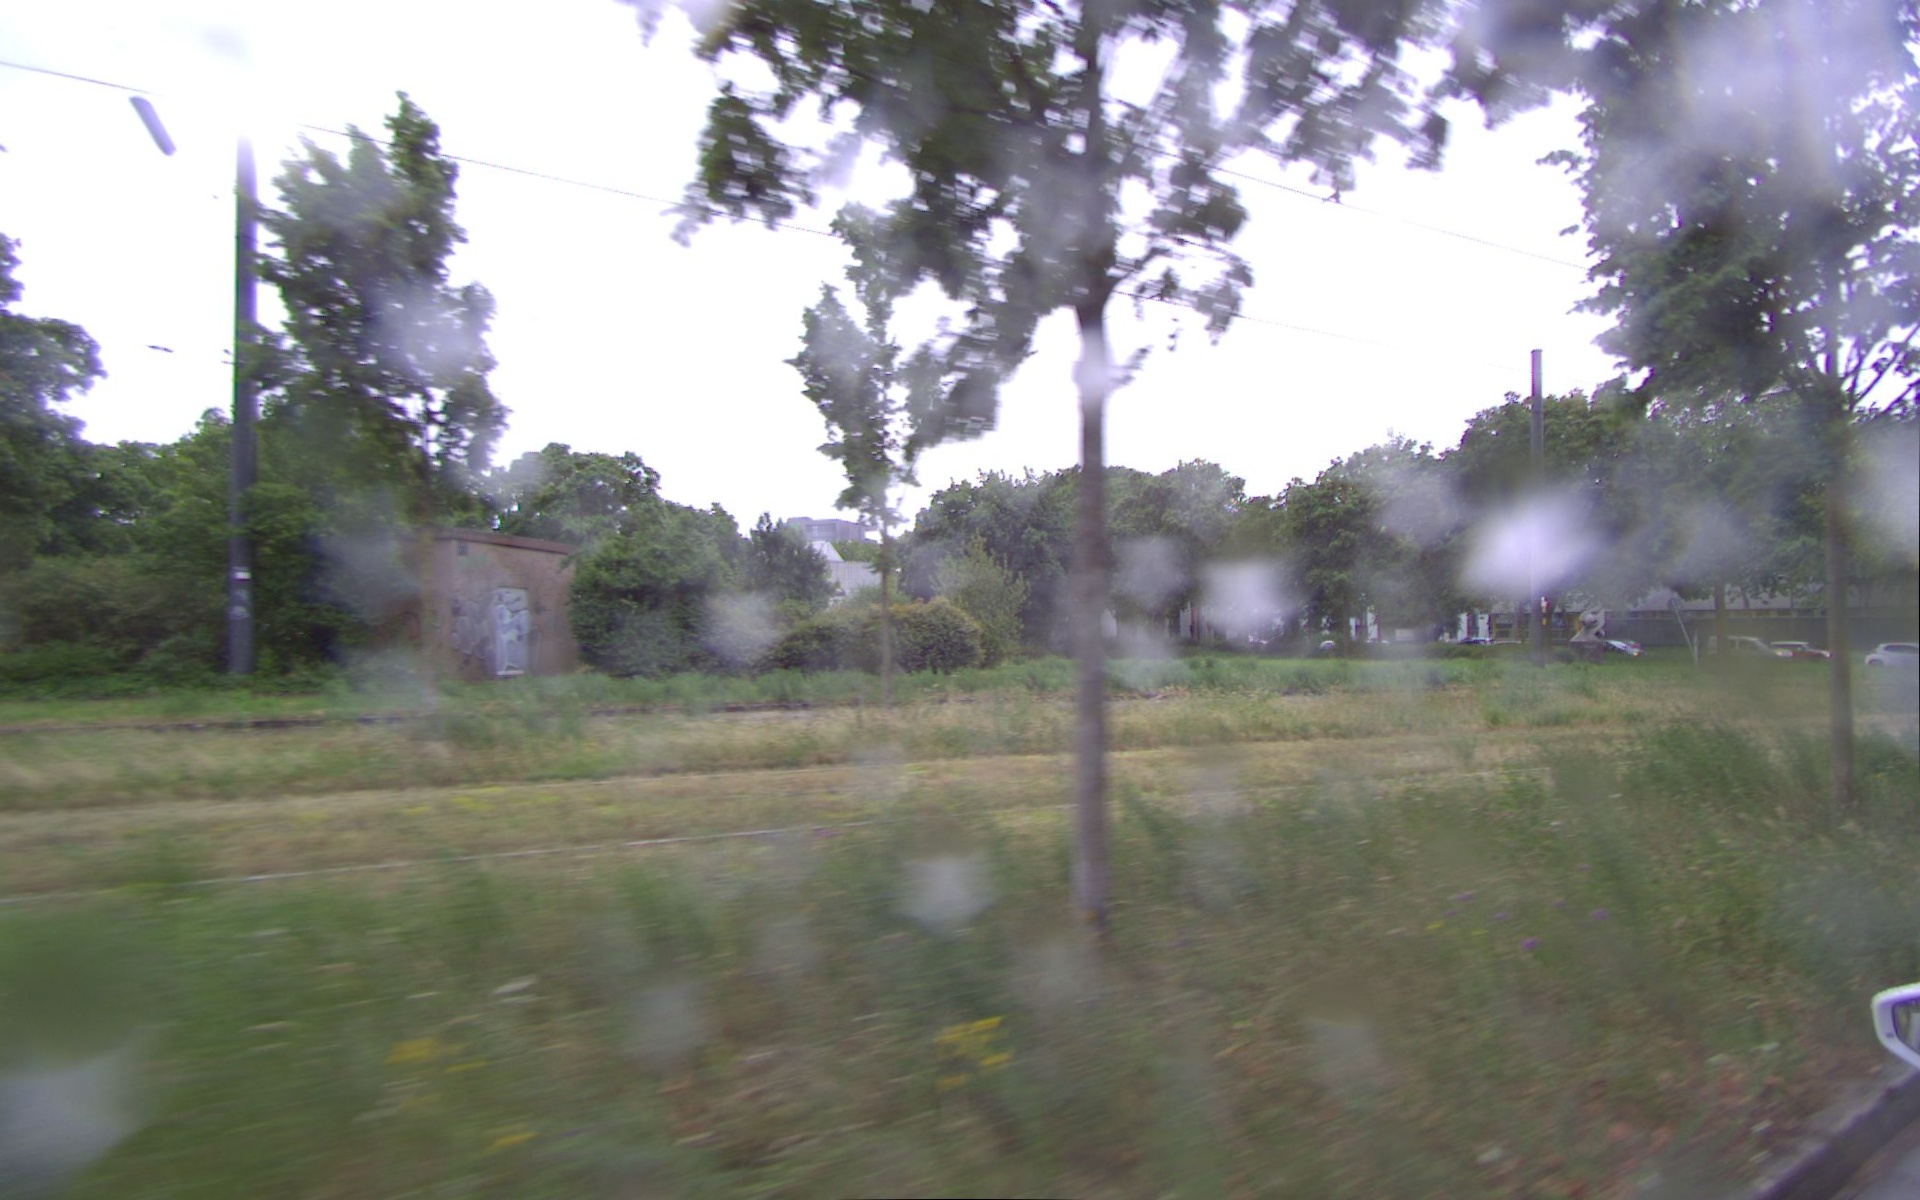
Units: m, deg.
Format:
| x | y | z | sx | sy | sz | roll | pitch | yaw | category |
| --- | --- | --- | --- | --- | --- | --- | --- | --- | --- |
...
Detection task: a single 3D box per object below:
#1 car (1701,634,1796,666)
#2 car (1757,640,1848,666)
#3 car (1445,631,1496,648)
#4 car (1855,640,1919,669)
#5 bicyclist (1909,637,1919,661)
| x | y | z | sx | sy | sz | roll | pitch | yaw | category |
| --- | --- | --- | --- | --- | --- | --- | --- | --- | --- |
| 47.416 | 2.989 | 60.471 | 1.630 | 1.820 | 4.196 | 0 | -2 | -26 | car |
| 50.762 | 3.165 | 60.599 | 1.632 | 1.518 | 3.891 | 0 | -2 | -29 | car |
| 46.174 | 3.583 | 90.985 | 1.519 | 1.438 | 3.972 | 1 | -2 | -28 | car |
| 50.427 | 2.890 | 53.326 | 1.630 | 1.518 | 4.054 | 1 | -3 | -25 | car |
| 68.720 | 3.512 | 72.074 | 0.632 | 1.705 | 0.684 | 1 | -2 | -18 | bicyclist |
